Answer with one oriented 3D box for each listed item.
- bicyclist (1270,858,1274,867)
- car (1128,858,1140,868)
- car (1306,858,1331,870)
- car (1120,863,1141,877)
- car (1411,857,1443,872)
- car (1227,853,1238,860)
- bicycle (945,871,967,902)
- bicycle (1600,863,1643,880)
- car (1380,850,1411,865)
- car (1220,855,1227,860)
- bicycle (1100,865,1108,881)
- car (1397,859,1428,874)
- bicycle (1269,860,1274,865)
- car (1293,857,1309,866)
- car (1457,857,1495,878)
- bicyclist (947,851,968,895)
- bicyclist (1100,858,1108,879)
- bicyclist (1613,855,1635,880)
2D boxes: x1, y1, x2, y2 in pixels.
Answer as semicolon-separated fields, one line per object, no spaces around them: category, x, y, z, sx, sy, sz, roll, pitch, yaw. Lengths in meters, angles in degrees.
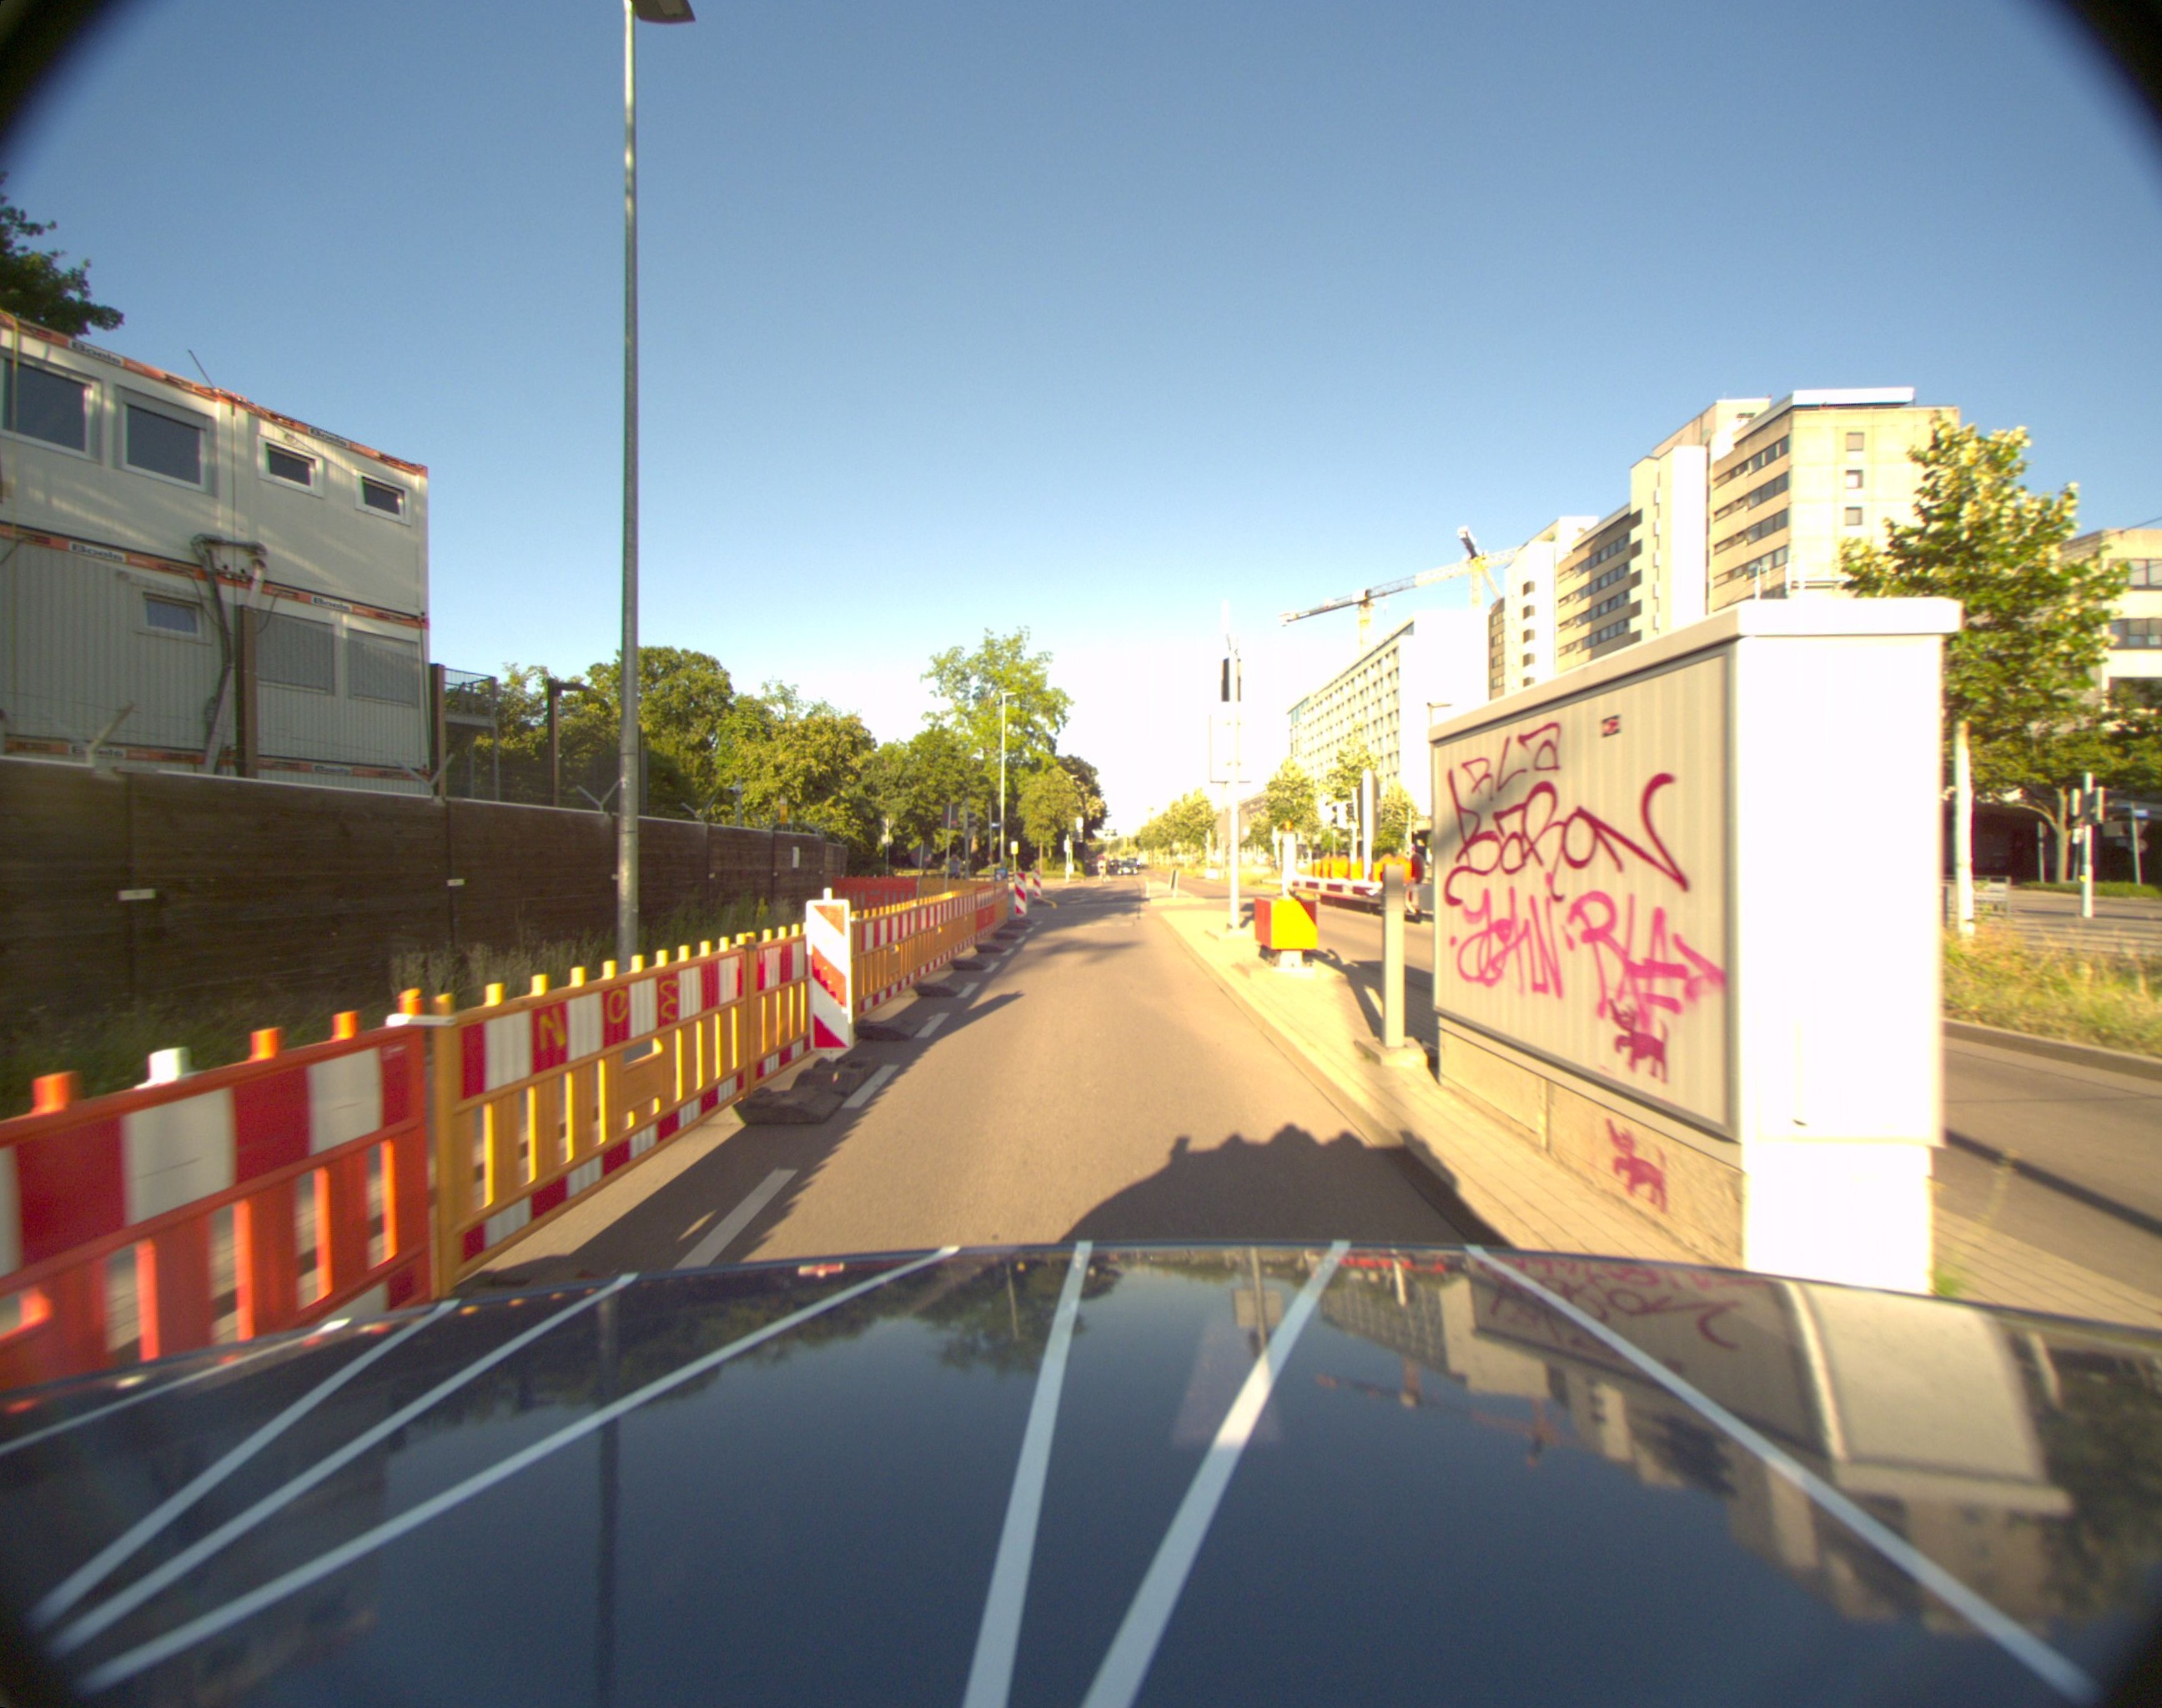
bicyclist;34.788;1.565;138.416;0.558;1.735;0.919;0;0;0
car;7.900;1.269;113.339;1.591;1.448;4.001;0;0;2
car;30.503;1.316;97.553;1.780;1.455;4.662;-1;0;0
car;4.893;1.564;75.178;1.998;1.346;4.001;0;0;2
car;36.762;1.137;80.668;3.800;1.436;1.617;-3;1;-42
car;37.049;0.685;186.414;1.874;1.579;4.639;-2;0;2
bicycle;-4.583;1.186;28.026;0.428;1.055;1.911;0;0;2
bicycle;30.704;0.981;43.210;0.507;0.886;2.027;-1;0;-22
car;36.094;0.392;87.117;4.556;1.436;1.617;-3;1;-44
car;43.024;1.129;229.204;1.613;1.370;3.879;-2;1;2
bicycle;1.540;1.271;51.082;0.506;1.018;1.505;0;0;2
car;36.491;1.333;83.624;3.809;1.436;1.785;-3;1;-44
bicycle;34.745;1.551;138.522;0.437;0.857;2.103;0;0;0
car;36.560;1.233;126.324;1.874;1.457;3.389;-2;1;2
car;36.679;1.228;70.500;4.204;1.681;1.617;-3;1;-39
bicyclist;-4.539;0.683;27.915;0.585;1.605;0.903;0;1;1
bicyclist;1.536;0.961;51.123;0.516;1.399;0.805;0;0;1
bicyclist;30.681;0.742;42.936;0.737;1.386;0.715;-1;1;-23
